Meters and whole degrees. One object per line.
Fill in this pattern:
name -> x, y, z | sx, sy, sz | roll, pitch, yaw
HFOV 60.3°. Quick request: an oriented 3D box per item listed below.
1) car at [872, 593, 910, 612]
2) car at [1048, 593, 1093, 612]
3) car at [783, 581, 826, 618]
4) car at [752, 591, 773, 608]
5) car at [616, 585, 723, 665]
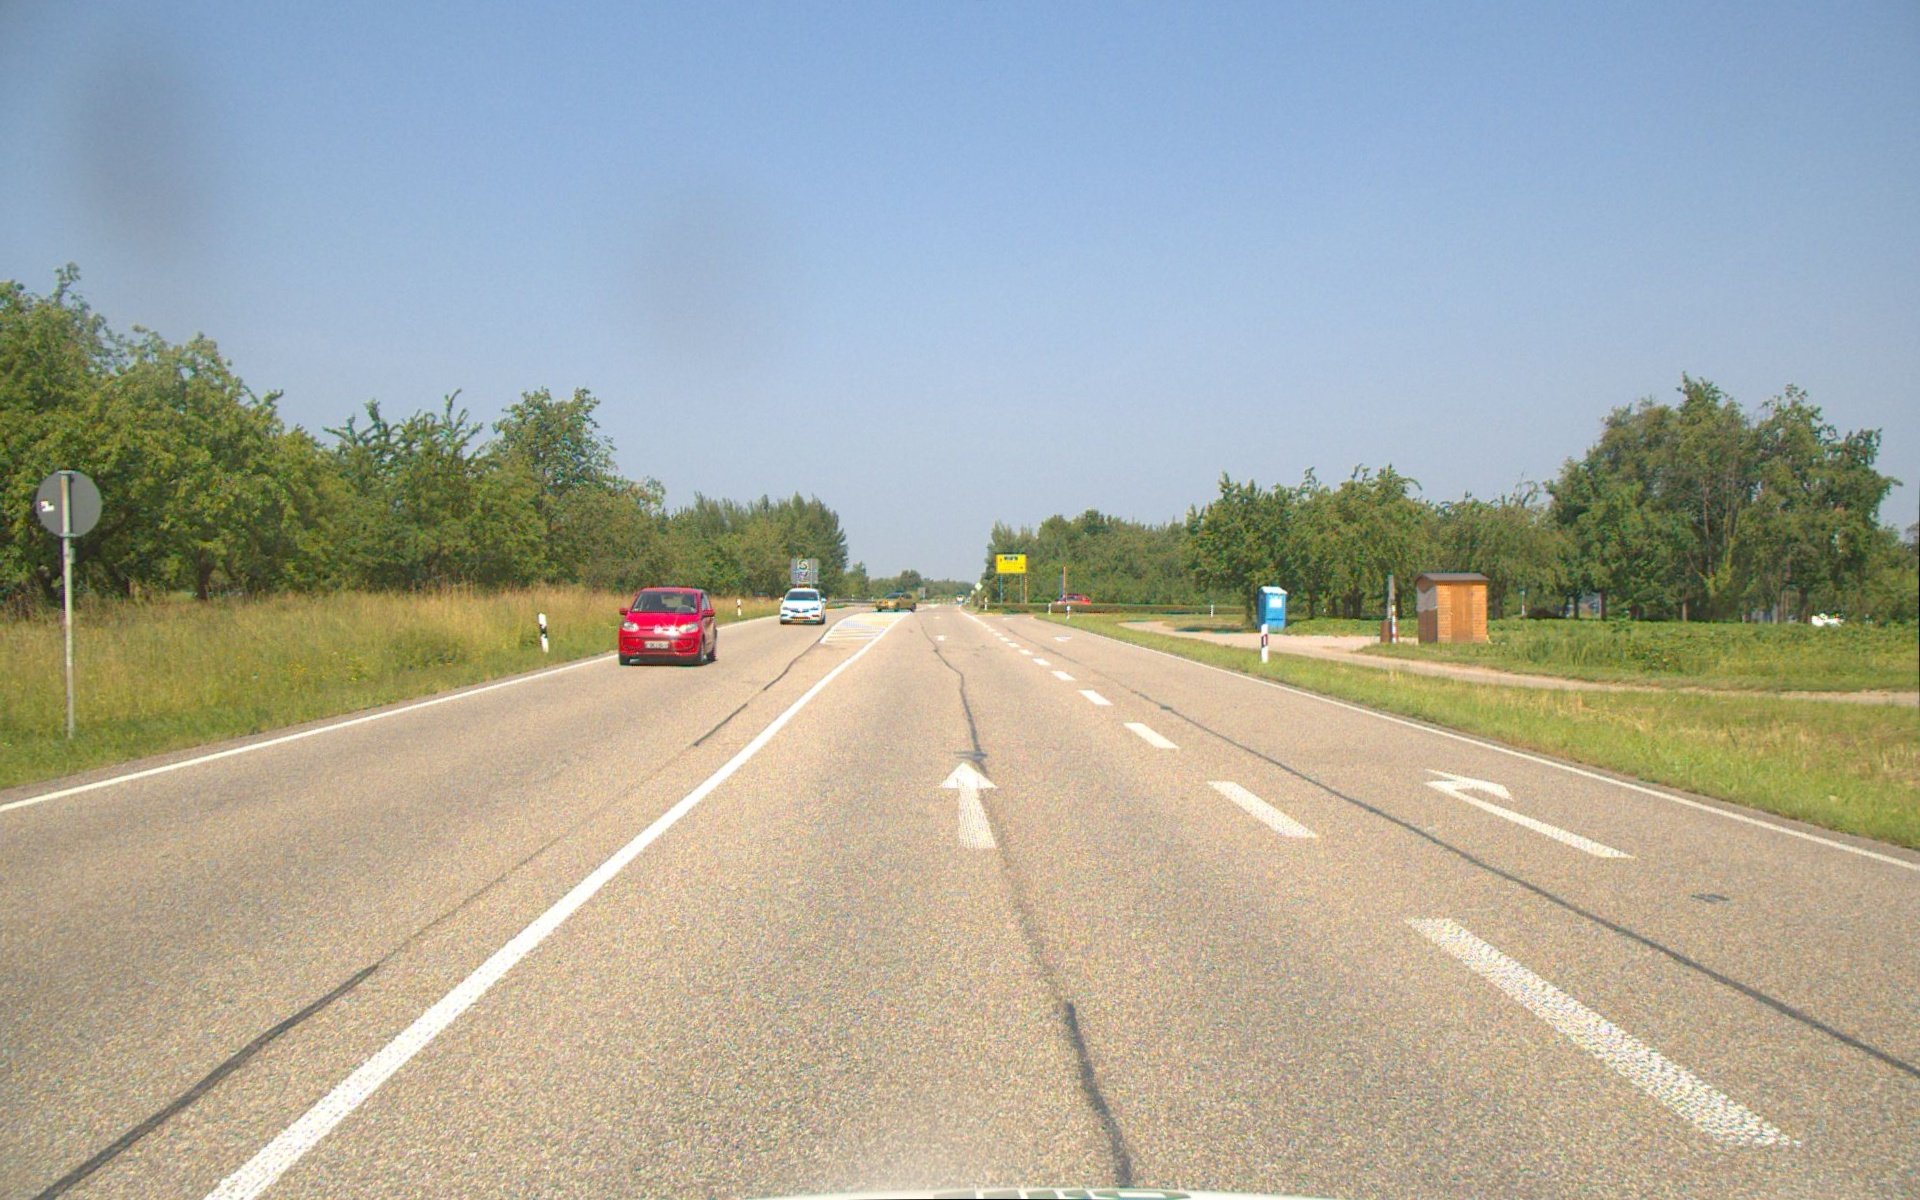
car -> -5.382, 0.177, 129.831 | 1.662, 1.441, 3.826 | 0, 0, 19
car -> 9.409, 0.239, 140.702 | 3.665, 1.519, 1.671 | 1, 0, -3
car -> -6.564, -0.034, 70.030 | 1.641, 1.520, 4.134 | 1, 0, -3
car -> -17.727, -0.032, 148.541 | 1.671, 1.448, 4.039 | 0, 0, -5
car -> -5.706, 0.452, 32.853 | 1.593, 1.482, 3.620 | 1, 0, -2
